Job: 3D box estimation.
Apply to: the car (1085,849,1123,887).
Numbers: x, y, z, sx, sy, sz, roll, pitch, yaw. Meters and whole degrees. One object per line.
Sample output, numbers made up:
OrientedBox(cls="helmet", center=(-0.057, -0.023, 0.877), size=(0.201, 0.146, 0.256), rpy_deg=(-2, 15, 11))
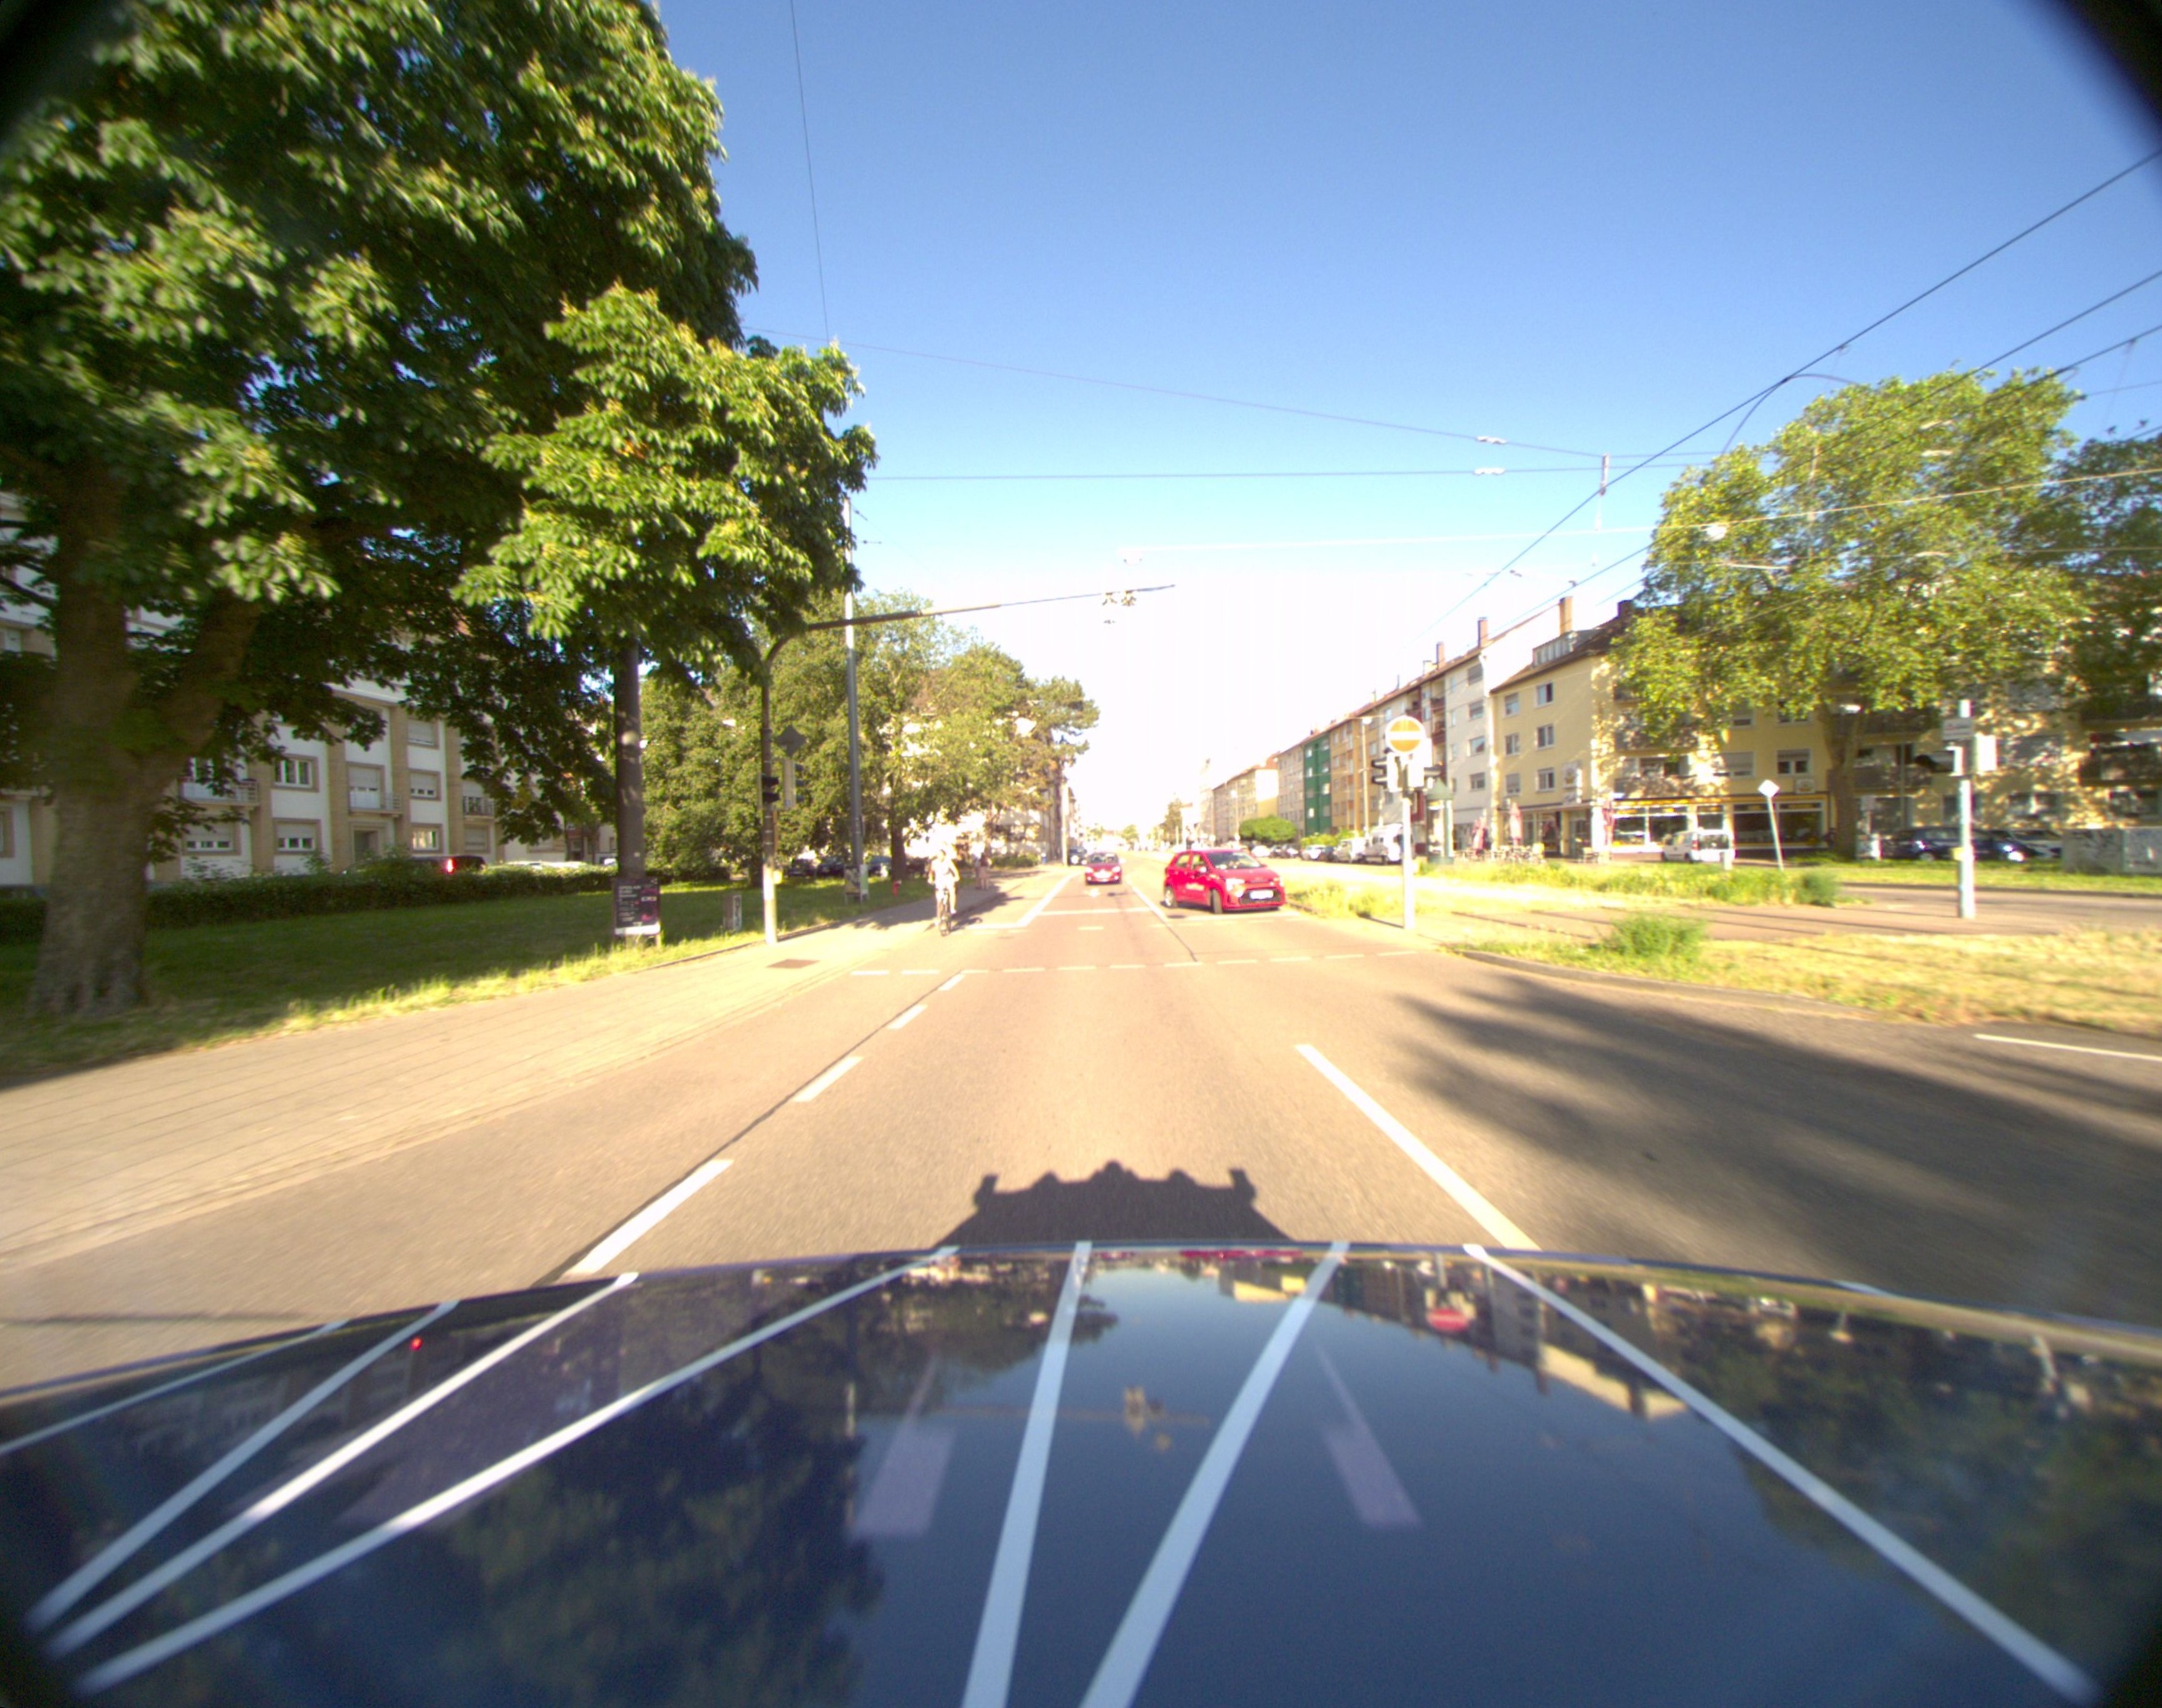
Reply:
OrientedBox(cls="car", center=(1.069, 0.591, 34.771), size=(1.619, 1.537, 4.277), rpy_deg=(-1, 1, 2))

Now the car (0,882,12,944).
OrientedBox(cls="car", center=(-33.514, 1.822, 21.062), size=(1.999, 1.833, 3.999), rpy_deg=(-2, 1, 0))

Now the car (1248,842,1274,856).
OrientedBox(cls="car", center=(23.319, -0.622, 98.576), size=(2.144, 1.697, 5.445), rpy_deg=(-1, 1, 2))

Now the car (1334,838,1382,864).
OrientedBox(cls="car", center=(22.307, -0.260, 61.450), size=(2.144, 2.022, 5.157), rpy_deg=(-1, 1, 2))

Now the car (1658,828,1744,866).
OrientedBox(cls="car", center=(32.338, -0.374, 39.760), size=(1.909, 1.871, 4.003), rpy_deg=(-1, 1, 13))

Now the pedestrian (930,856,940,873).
OrientedBox(cls="pedestrian", center=(-9.320, 0.690, 48.598), size=(0.459, 1.072, 0.613), rpy_deg=(-1, 1, 1))

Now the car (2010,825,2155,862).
OrientedBox(cls="car", center=(46.269, -0.490, 35.265), size=(1.996, 1.543, 3.938), rpy_deg=(-1, 1, 13))

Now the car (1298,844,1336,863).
OrientedBox(cls="car", center=(22.685, -0.112, 73.139), size=(2.144, 1.697, 5.157), rpy_deg=(-1, 1, 2))

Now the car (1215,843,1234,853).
OrientedBox(cls="car", center=(23.937, -1.017, 126.873), size=(2.144, 1.697, 5.402), rpy_deg=(-1, 1, 2))

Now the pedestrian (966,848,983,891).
OrientedBox(cls="pedestrian", center=(-4.288, 0.626, 30.629), size=(0.567, 1.688, 0.595), rpy_deg=(-2, 1, -17))

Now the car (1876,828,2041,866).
OrientedBox(cls="car", center=(35.290, -0.285, 30.712), size=(3.990, 1.429, 1.720), rpy_deg=(0, 2, 24))

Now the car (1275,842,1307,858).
OrientedBox(cls="car", center=(22.916, -0.453, 83.184), size=(2.144, 1.697, 5.445), rpy_deg=(-1, 1, 2))

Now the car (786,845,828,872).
OrientedBox(cls="car", center=(-18.325, 0.264, 51.042), size=(2.000, 1.689, 4.272), rpy_deg=(-2, 1, -12))

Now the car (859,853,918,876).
OrientedBox(cls="car", center=(-12.155, 0.643, 48.310), size=(1.997, 1.316, 4.280), rpy_deg=(-1, 1, 11))

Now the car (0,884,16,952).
OrientedBox(cls="car", center=(-24.802, 1.413, 15.294), size=(3.996, 1.440, 2.000), rpy_deg=(-1, 1, 3))

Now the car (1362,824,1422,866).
OrientedBox(cls="car", center=(22.132, -0.660, 54.263), size=(2.230, 2.808, 5.229), rpy_deg=(-1, 1, 2))

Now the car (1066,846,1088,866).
OrientedBox(cls="car", center=(-0.340, 0.170, 74.464), size=(1.998, 1.806, 4.000), rpy_deg=(-2, 1, 1))

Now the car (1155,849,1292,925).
OrientedBox(cls="car", center=(3.252, 0.701, 17.997), size=(1.545, 1.522, 3.597), rpy_deg=(-4, 1, -19))

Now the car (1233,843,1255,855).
OrientedBox(cls="car", center=(23.931, -0.779, 111.881), size=(2.144, 1.697, 5.402), rpy_deg=(-1, 1, 2))

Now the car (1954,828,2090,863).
OrientedBox(cls="car", center=(44.075, -0.405, 35.735), size=(1.996, 1.543, 3.938), rpy_deg=(-1, 1, 13))

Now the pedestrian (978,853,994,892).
OrientedBox(cls="pedestrian", center=(-3.751, 0.712, 30.023), size=(0.596, 1.518, 0.633), rpy_deg=(-1, 1, -9))

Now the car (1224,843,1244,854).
OrientedBox(cls="car", center=(23.761, -0.837, 118.345), size=(2.144, 1.697, 5.402), rpy_deg=(-1, 1, 2))

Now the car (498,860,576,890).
OrientedBox(cls="car", center=(-34.027, 1.251, 47.706), size=(1.905, 1.680, 4.084), rpy_deg=(-1, 1, 0))

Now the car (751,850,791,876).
OrientedBox(cls="car", center=(-21.173, 0.577, 52.043), size=(2.001, 1.689, 4.271), rpy_deg=(-2, 1, -15))

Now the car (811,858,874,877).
OrientedBox(cls="car", center=(-15.227, 0.823, 48.765), size=(1.997, 1.060, 4.280), rpy_deg=(-1, 1, 11))

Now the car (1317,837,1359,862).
OrientedBox(cls="car", center=(22.713, -0.412, 67.301), size=(2.144, 2.022, 4.864), rpy_deg=(-1, 1, 2))

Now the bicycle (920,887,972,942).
OrientedBox(cls="bicycle", center=(-2.665, 1.182, 15.196), size=(0.684, 0.925, 1.736), rpy_deg=(-1, 1, 1))

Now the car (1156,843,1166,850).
OrientedBox(cls="car", center=(20.658, -1.954, 196.877), size=(2.144, 1.697, 5.402), rpy_deg=(-1, 1, 2))

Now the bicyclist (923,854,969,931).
OrientedBox(cls="bicyclist", center=(-2.675, 0.739, 15.136), size=(0.678, 1.466, 0.936), rpy_deg=(-1, 1, 1))
